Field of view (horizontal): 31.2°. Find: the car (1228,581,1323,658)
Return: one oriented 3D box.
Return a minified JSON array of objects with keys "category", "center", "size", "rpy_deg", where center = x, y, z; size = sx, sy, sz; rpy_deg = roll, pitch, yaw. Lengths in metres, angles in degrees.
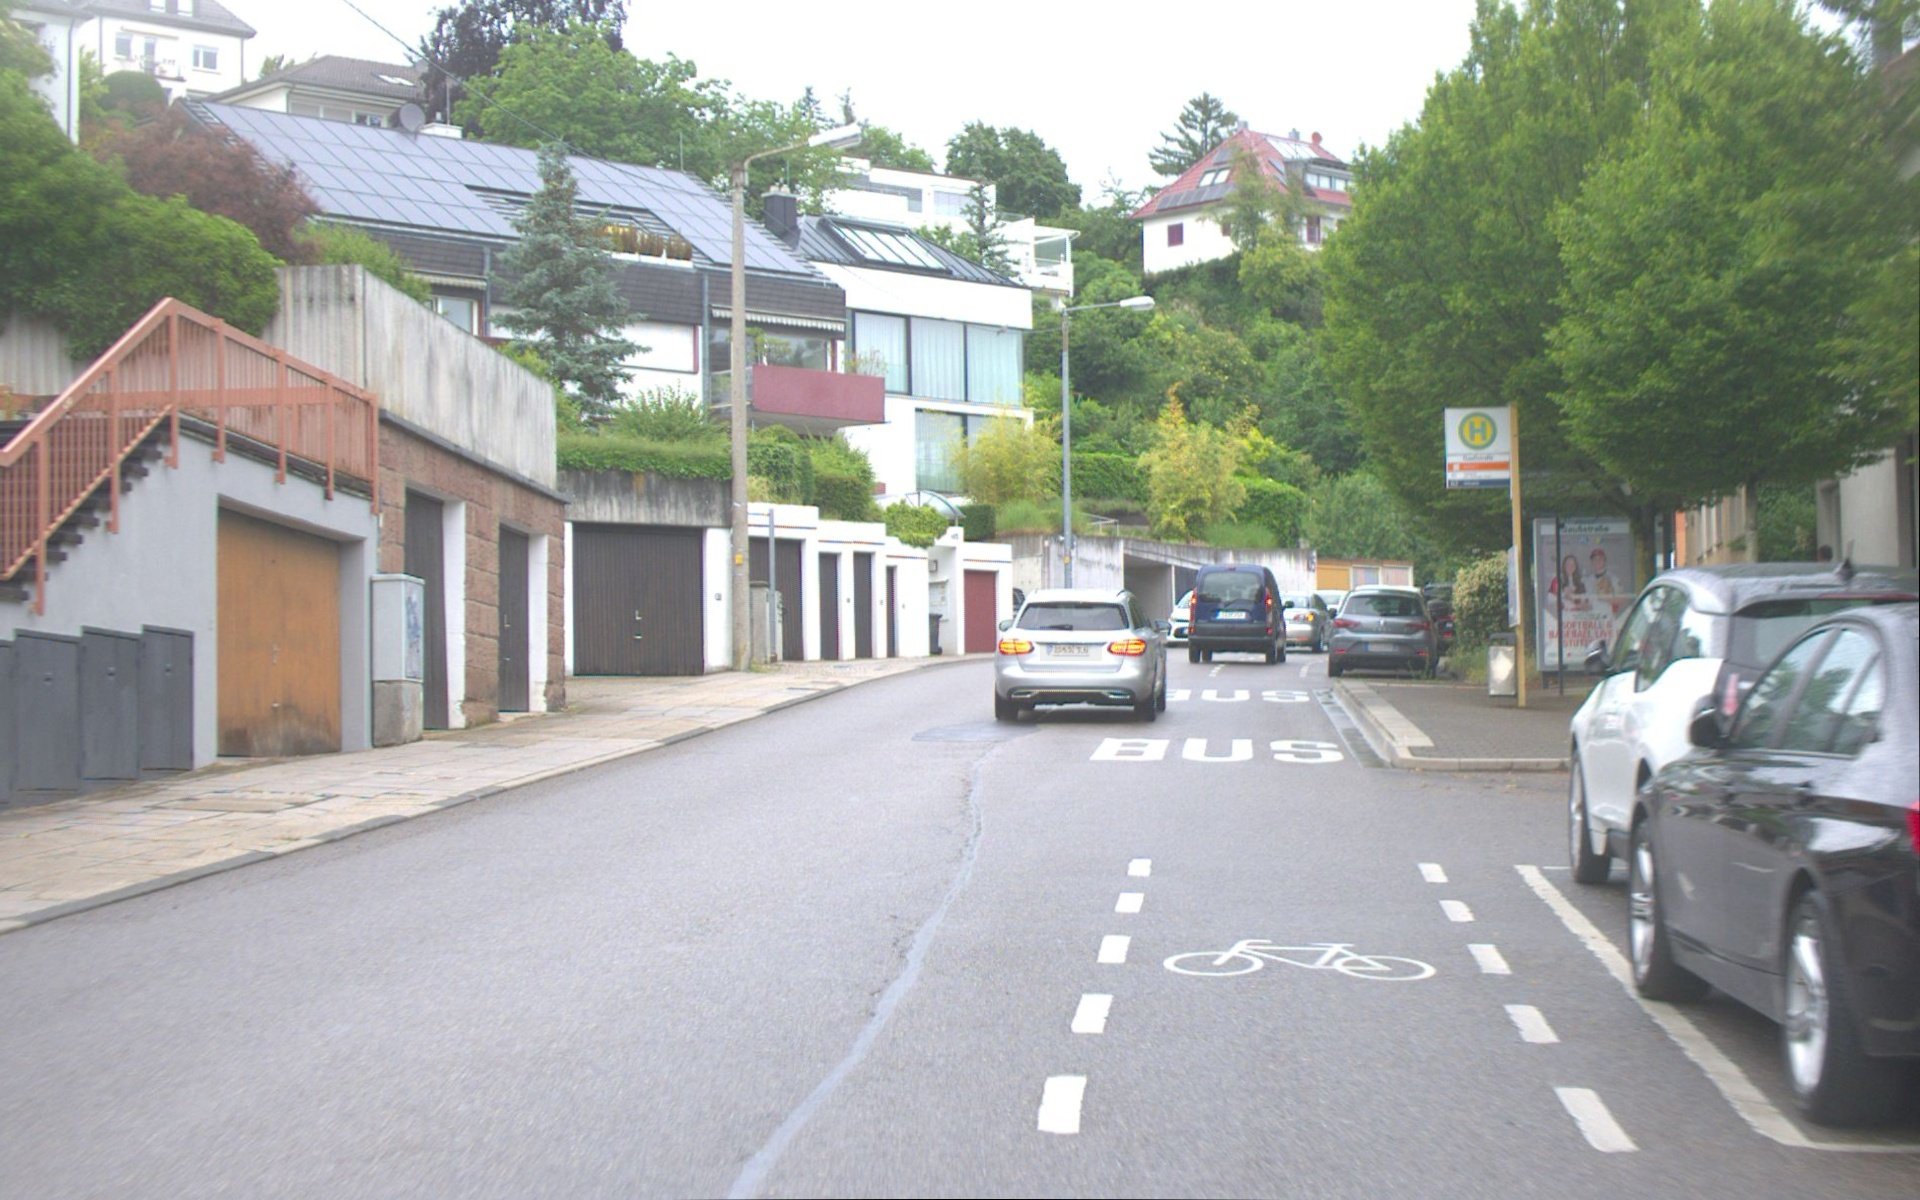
[{"category":"car","center":[7.311,0.441,79.390],"size":[1.994,1.702,3.999],"rpy_deg":[1,0,8]}]

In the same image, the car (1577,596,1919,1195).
[{"category":"car","center":[3.189,0.729,10.749],"size":[1.779,1.434,4.881],"rpy_deg":[1,0,2]}]

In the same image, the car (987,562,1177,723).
[{"category":"car","center":[1.379,0.463,39.064],"size":[2.025,1.702,4.215],"rpy_deg":[1,0,2]}]

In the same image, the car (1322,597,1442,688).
[{"category":"car","center":[7.001,0.671,56.878],"size":[1.879,1.412,4.466],"rpy_deg":[1,0,8]}]

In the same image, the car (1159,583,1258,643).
[{"category":"car","center":[6.438,0.330,88.839],"size":[1.628,1.511,3.829],"rpy_deg":[0,0,19]}]

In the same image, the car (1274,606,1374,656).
[{"category":"car","center":[10.640,0.896,100.313],"size":[1.834,1.435,4.035],"rpy_deg":[-1,0,22]}]

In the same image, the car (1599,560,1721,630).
[{"category":"car","center":[26.220,-0.218,128.681],"size":[2.098,2.541,6.084],"rpy_deg":[-1,0,36]}]

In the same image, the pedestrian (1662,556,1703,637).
[{"category":"pedestrian","center":[15.635,-0.072,74.393],"size":[0.760,1.714,0.902],"rpy_deg":[-3,-1,13]}]

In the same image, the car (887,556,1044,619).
[{"category":"car","center":[0.126,-0.323,87.910],"size":[1.763,1.473,3.930],"rpy_deg":[1,1,-43]}]

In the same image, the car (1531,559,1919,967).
[{"category":"car","center":[3.761,0.658,15.884],"size":[1.729,1.602,4.119],"rpy_deg":[2,0,3]}]

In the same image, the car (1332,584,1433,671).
[{"category":"car","center":[7.758,0.480,62.919],"size":[1.657,1.484,3.998],"rpy_deg":[2,0,9]}]

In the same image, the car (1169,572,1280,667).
[{"category":"car","center":[4.999,0.367,64.715],"size":[1.994,1.702,3.999],"rpy_deg":[1,0,5]}]

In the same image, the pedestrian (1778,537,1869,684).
[{"category":"pedestrian","center":[10.222,0.120,40.719],"size":[0.833,1.680,1.044],"rpy_deg":[-3,0,6]}]

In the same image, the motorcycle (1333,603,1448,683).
[{"category":"motorcycle","center":[7.519,0.747,60.098],"size":[1.913,1.325,0.787],"rpy_deg":[2,0,4]}]
